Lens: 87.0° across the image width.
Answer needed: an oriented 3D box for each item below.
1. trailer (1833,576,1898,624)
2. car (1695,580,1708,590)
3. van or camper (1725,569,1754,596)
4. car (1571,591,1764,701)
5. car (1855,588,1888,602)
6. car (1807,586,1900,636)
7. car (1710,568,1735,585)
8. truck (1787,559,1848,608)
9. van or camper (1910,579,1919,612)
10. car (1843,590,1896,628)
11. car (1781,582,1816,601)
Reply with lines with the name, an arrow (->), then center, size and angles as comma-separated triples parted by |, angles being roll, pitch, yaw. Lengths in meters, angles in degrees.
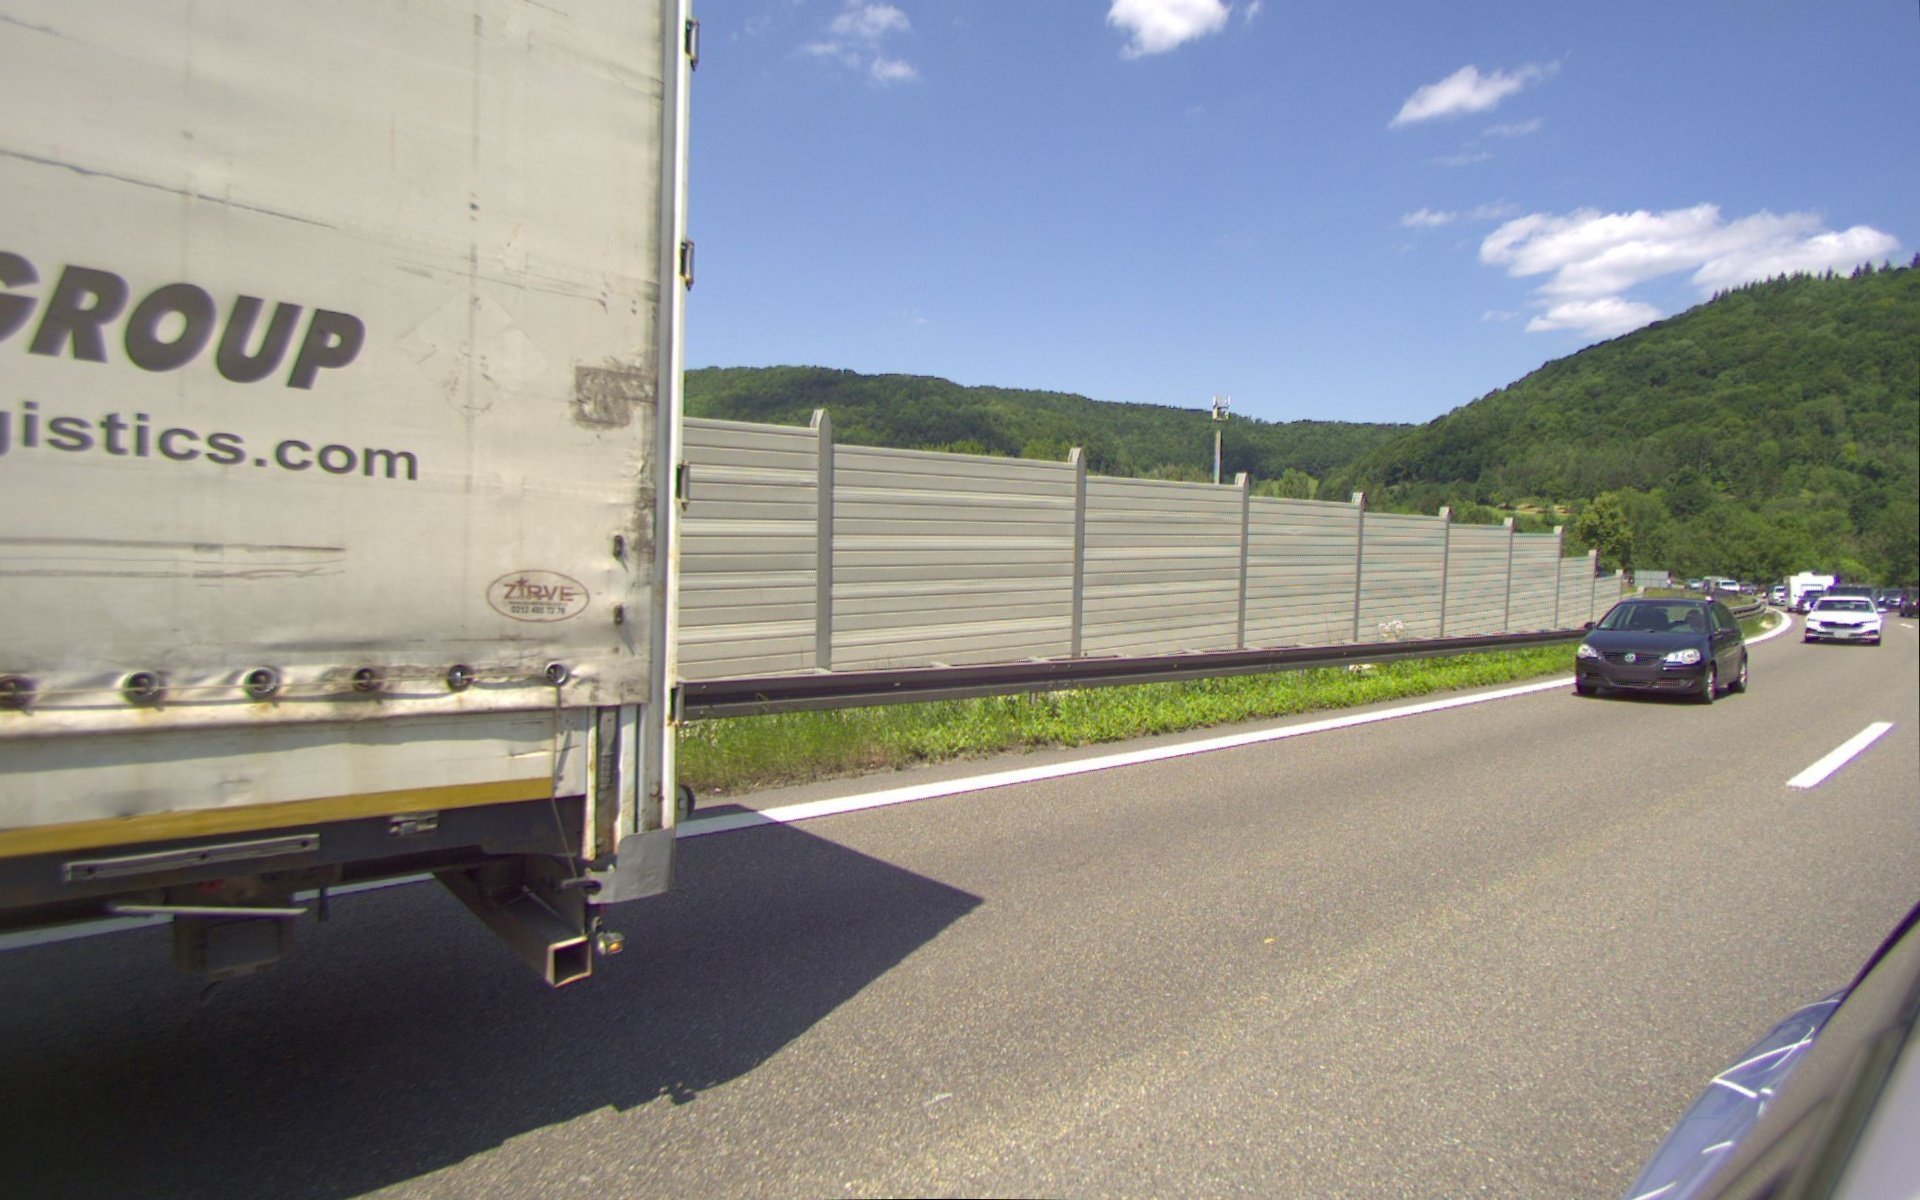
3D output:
trailer -> 39.165, -0.027, 43.858 | 1.992, 1.994, 3.941 | 1, 1, 41
car -> 109.219, -2.196, 148.986 | 1.236, 1.497, 2.927 | -2, -1, 31
van or camper -> 91.460, -2.057, 118.806 | 1.894, 3.065, 4.826 | 1, 1, 29
car -> 10.695, 0.583, 15.195 | 3.775, 1.440, 1.693 | -1, 1, -44
car -> 74.543, -0.402, 82.785 | 1.481, 1.123, 3.177 | -1, 1, 32
car -> 27.619, 0.359, 31.254 | 3.660, 1.449, 1.903 | 2, -2, -45
car -> 95.464, -2.940, 126.782 | 1.983, 2.039, 3.958 | -1, 1, 30
truck -> 59.606, -1.133, 70.470 | 2.587, 3.147, 6.771 | -2, -1, 35
van or camper -> 57.445, -0.269, 59.583 | 1.808, 1.890, 3.566 | 0, 0, 36
car -> 36.743, 0.330, 40.940 | 1.484, 1.400, 3.683 | 3, 3, 41
car -> 71.454, -0.740, 86.293 | 1.686, 1.552, 3.639 | -2, -1, 31
